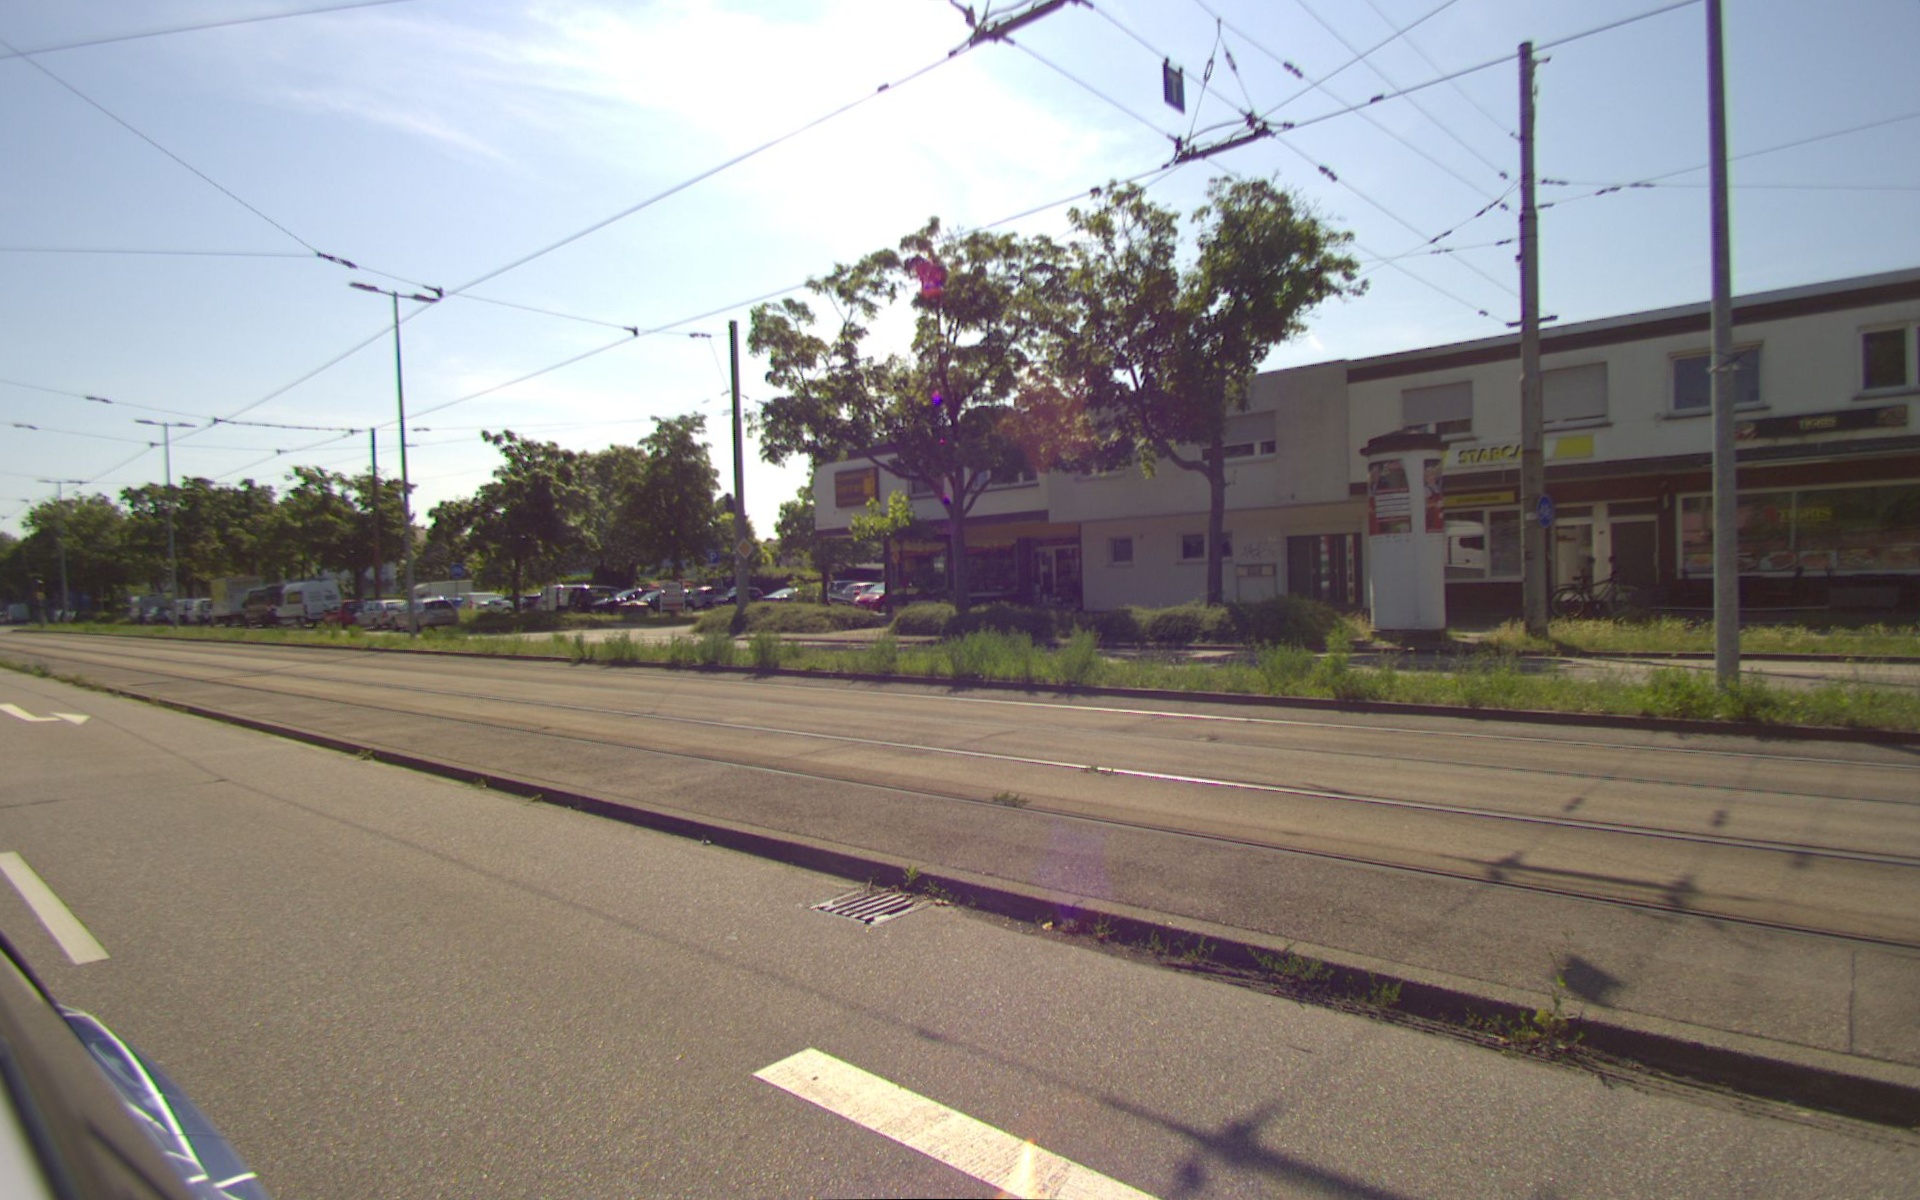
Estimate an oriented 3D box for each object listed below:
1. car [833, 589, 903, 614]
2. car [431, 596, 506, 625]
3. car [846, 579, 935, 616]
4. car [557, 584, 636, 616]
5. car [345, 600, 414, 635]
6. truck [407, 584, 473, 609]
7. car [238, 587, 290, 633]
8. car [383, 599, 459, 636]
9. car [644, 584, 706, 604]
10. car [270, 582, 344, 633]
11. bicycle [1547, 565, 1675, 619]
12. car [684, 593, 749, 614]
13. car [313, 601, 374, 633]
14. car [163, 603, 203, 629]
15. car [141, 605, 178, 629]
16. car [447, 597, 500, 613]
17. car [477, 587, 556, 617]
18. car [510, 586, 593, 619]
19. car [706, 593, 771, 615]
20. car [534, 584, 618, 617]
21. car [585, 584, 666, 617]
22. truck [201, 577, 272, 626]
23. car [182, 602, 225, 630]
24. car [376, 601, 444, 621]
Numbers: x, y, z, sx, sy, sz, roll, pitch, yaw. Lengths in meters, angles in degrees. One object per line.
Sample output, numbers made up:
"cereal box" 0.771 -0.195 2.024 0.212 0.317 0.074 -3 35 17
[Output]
"car" -5.554 0.069 61.566 1.676 1.345 4.197 -1 1 42
"car" -33.289 0.703 68.424 5.739 1.825 2.560 -1 1 42
"car" -3.237 -0.119 47.986 1.676 1.616 4.197 -1 1 42
"car" -20.254 -0.007 56.497 1.676 1.646 3.761 -1 1 42
"car" -29.268 0.872 51.006 4.255 1.544 1.654 -1 4 41
"truck" -52.939 -0.347 103.115 1.988 2.398 5.584 -1 1 38
"car" -42.337 0.602 61.567 4.005 2.643 1.483 -1 4 41
"car" -25.212 0.818 47.305 4.255 1.544 1.654 -1 4 41
"car" -21.047 -0.452 74.751 1.674 1.345 4.201 -1 1 39
"car" -37.245 0.439 57.655 5.201 2.673 2.036 -1 4 41
"bicycle" 14.693 -0.167 22.893 2.333 1.161 0.779 -1 -1 42
"car" -17.131 0.246 71.397 1.676 1.345 4.197 -1 1 42
"car" -33.147 0.927 54.372 3.791 1.544 1.654 -1 4 41
"car" -59.737 1.228 77.830 4.056 1.859 1.484 -1 4 40
"car" -64.396 1.377 81.372 3.685 1.799 1.484 -1 4 40
"car" -45.925 0.421 95.642 1.676 1.345 4.198 -1 1 41
"car" -28.015 0.109 64.004 1.988 1.751 4.068 -1 1 38
"car" -24.029 0.129 59.671 1.988 1.751 4.068 -1 1 38
"car" -15.204 0.279 69.672 1.676 1.345 4.197 -1 1 42
"car" -22.054 -0.007 58.190 1.988 1.751 4.068 -1 1 38
"car" -17.957 -0.005 54.434 1.676 1.646 3.761 -1 1 42
"truck" -48.331 0.110 67.588 5.902 2.956 2.476 -1 4 42
"car" -54.708 1.146 73.160 4.631 1.817 1.483 -1 4 41
"car" -42.057 0.807 77.440 1.676 1.345 4.198 -1 1 41
